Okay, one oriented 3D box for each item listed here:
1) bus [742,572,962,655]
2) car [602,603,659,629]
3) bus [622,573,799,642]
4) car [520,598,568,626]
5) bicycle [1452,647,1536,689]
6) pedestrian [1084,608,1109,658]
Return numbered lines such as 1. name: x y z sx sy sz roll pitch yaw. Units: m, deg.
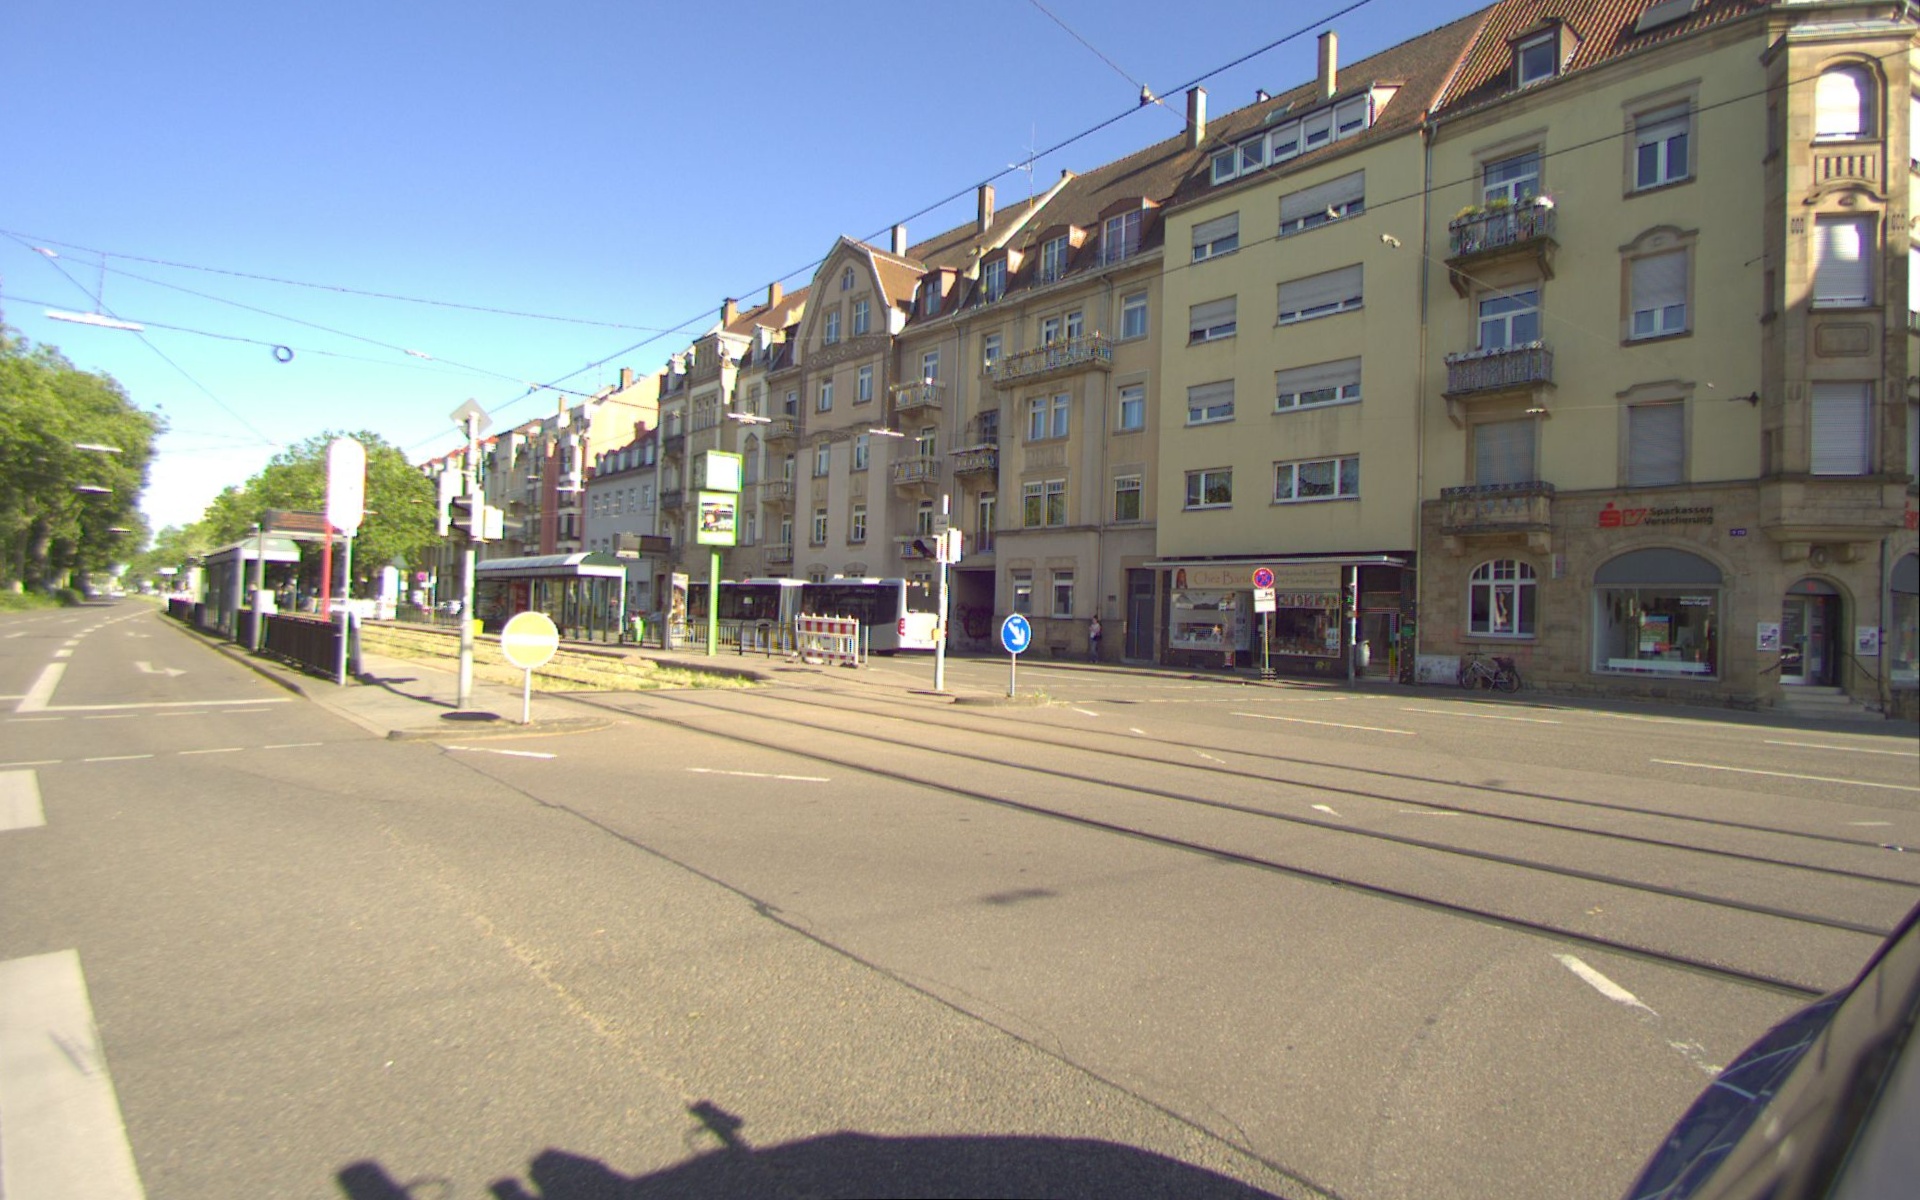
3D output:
1. bus: -4.870 0.472 42.917 10.650 3.073 3.082 1 -2 44
2. car: -20.384 0.996 62.523 1.722 1.438 3.991 4 -2 -43
3. bus: -12.637 0.294 50.352 10.828 3.055 3.046 1 -2 43
4. car: -30.756 0.859 74.772 1.995 1.919 3.992 4 -2 -42
5. bicycle: 14.320 1.804 27.162 0.507 0.987 1.951 0 0 -40
6. pedestrian: 5.059 1.226 37.535 0.695 1.826 0.521 3 -2 -37
